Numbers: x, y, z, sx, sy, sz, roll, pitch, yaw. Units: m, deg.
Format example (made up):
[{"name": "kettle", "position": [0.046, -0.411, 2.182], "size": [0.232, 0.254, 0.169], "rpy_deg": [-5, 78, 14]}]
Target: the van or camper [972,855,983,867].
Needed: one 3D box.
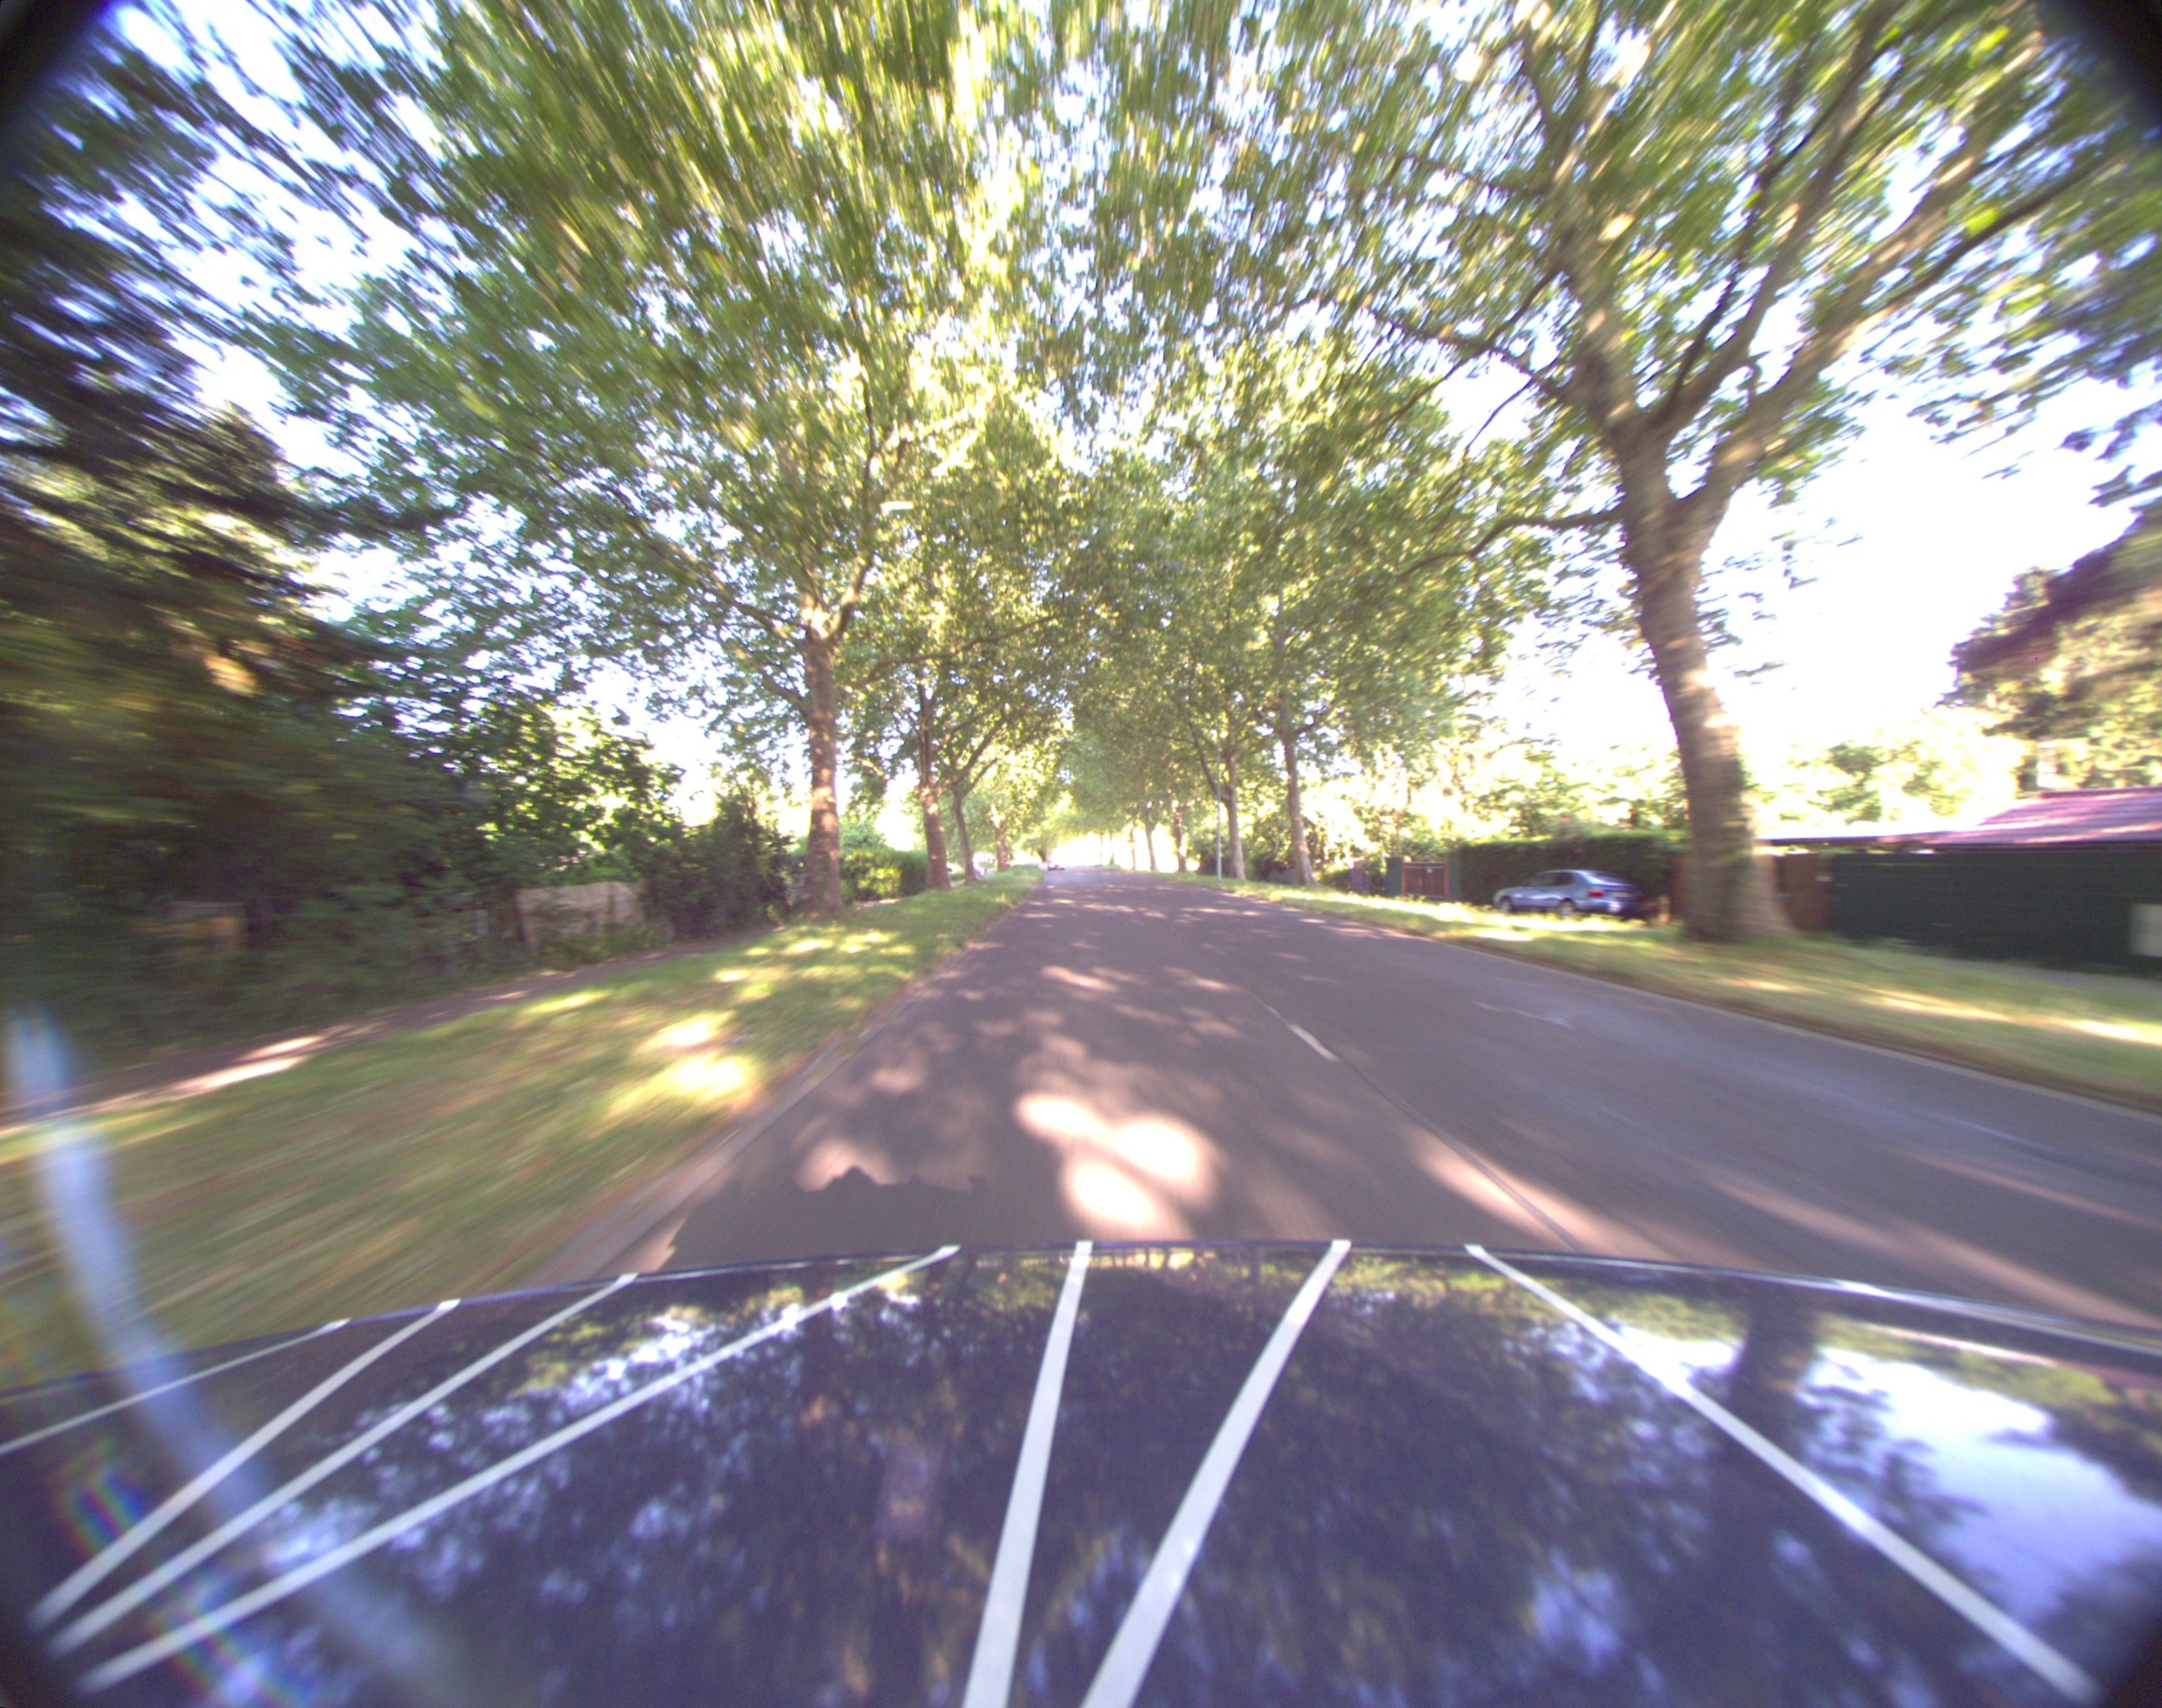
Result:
[{"name": "van or camper", "position": [-26.069, 1.800, 191.023], "size": [2.388, 2.784, 5.680], "rpy_deg": [-2, 1, -9]}]

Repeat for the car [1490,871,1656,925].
[{"name": "car", "position": [13.207, 1.123, 20.711], "size": [1.757, 1.296, 3.999], "rpy_deg": [0, -1, -4]}]

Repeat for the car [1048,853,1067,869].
[{"name": "car", "position": [-2.737, 0.812, 87.947], "size": [1.999, 1.655, 3.998], "rpy_deg": [-2, 1, -5]}]

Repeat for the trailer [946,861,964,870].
[{"name": "trailer", "position": [-16.719, 1.516, 100.624], "size": [2.123, 1.046, 1.200], "rpy_deg": [-2, 1, -1]}]

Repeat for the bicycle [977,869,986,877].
[{"name": "bicycle", "position": [-10.743, 2.021, 81.719], "size": [0.553, 0.812, 1.889], "rpy_deg": [-2, 1, 5]}]

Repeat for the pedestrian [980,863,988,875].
[{"name": "pedestrian", "position": [-13.798, 2.134, 107.940], "size": [0.842, 1.567, 0.786], "rpy_deg": [-1, 1, 34]}]

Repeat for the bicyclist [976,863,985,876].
[{"name": "bicyclist", "position": [-10.785, 1.673, 81.412], "size": [0.735, 1.358, 0.771], "rpy_deg": [-2, 1, 5]}]
